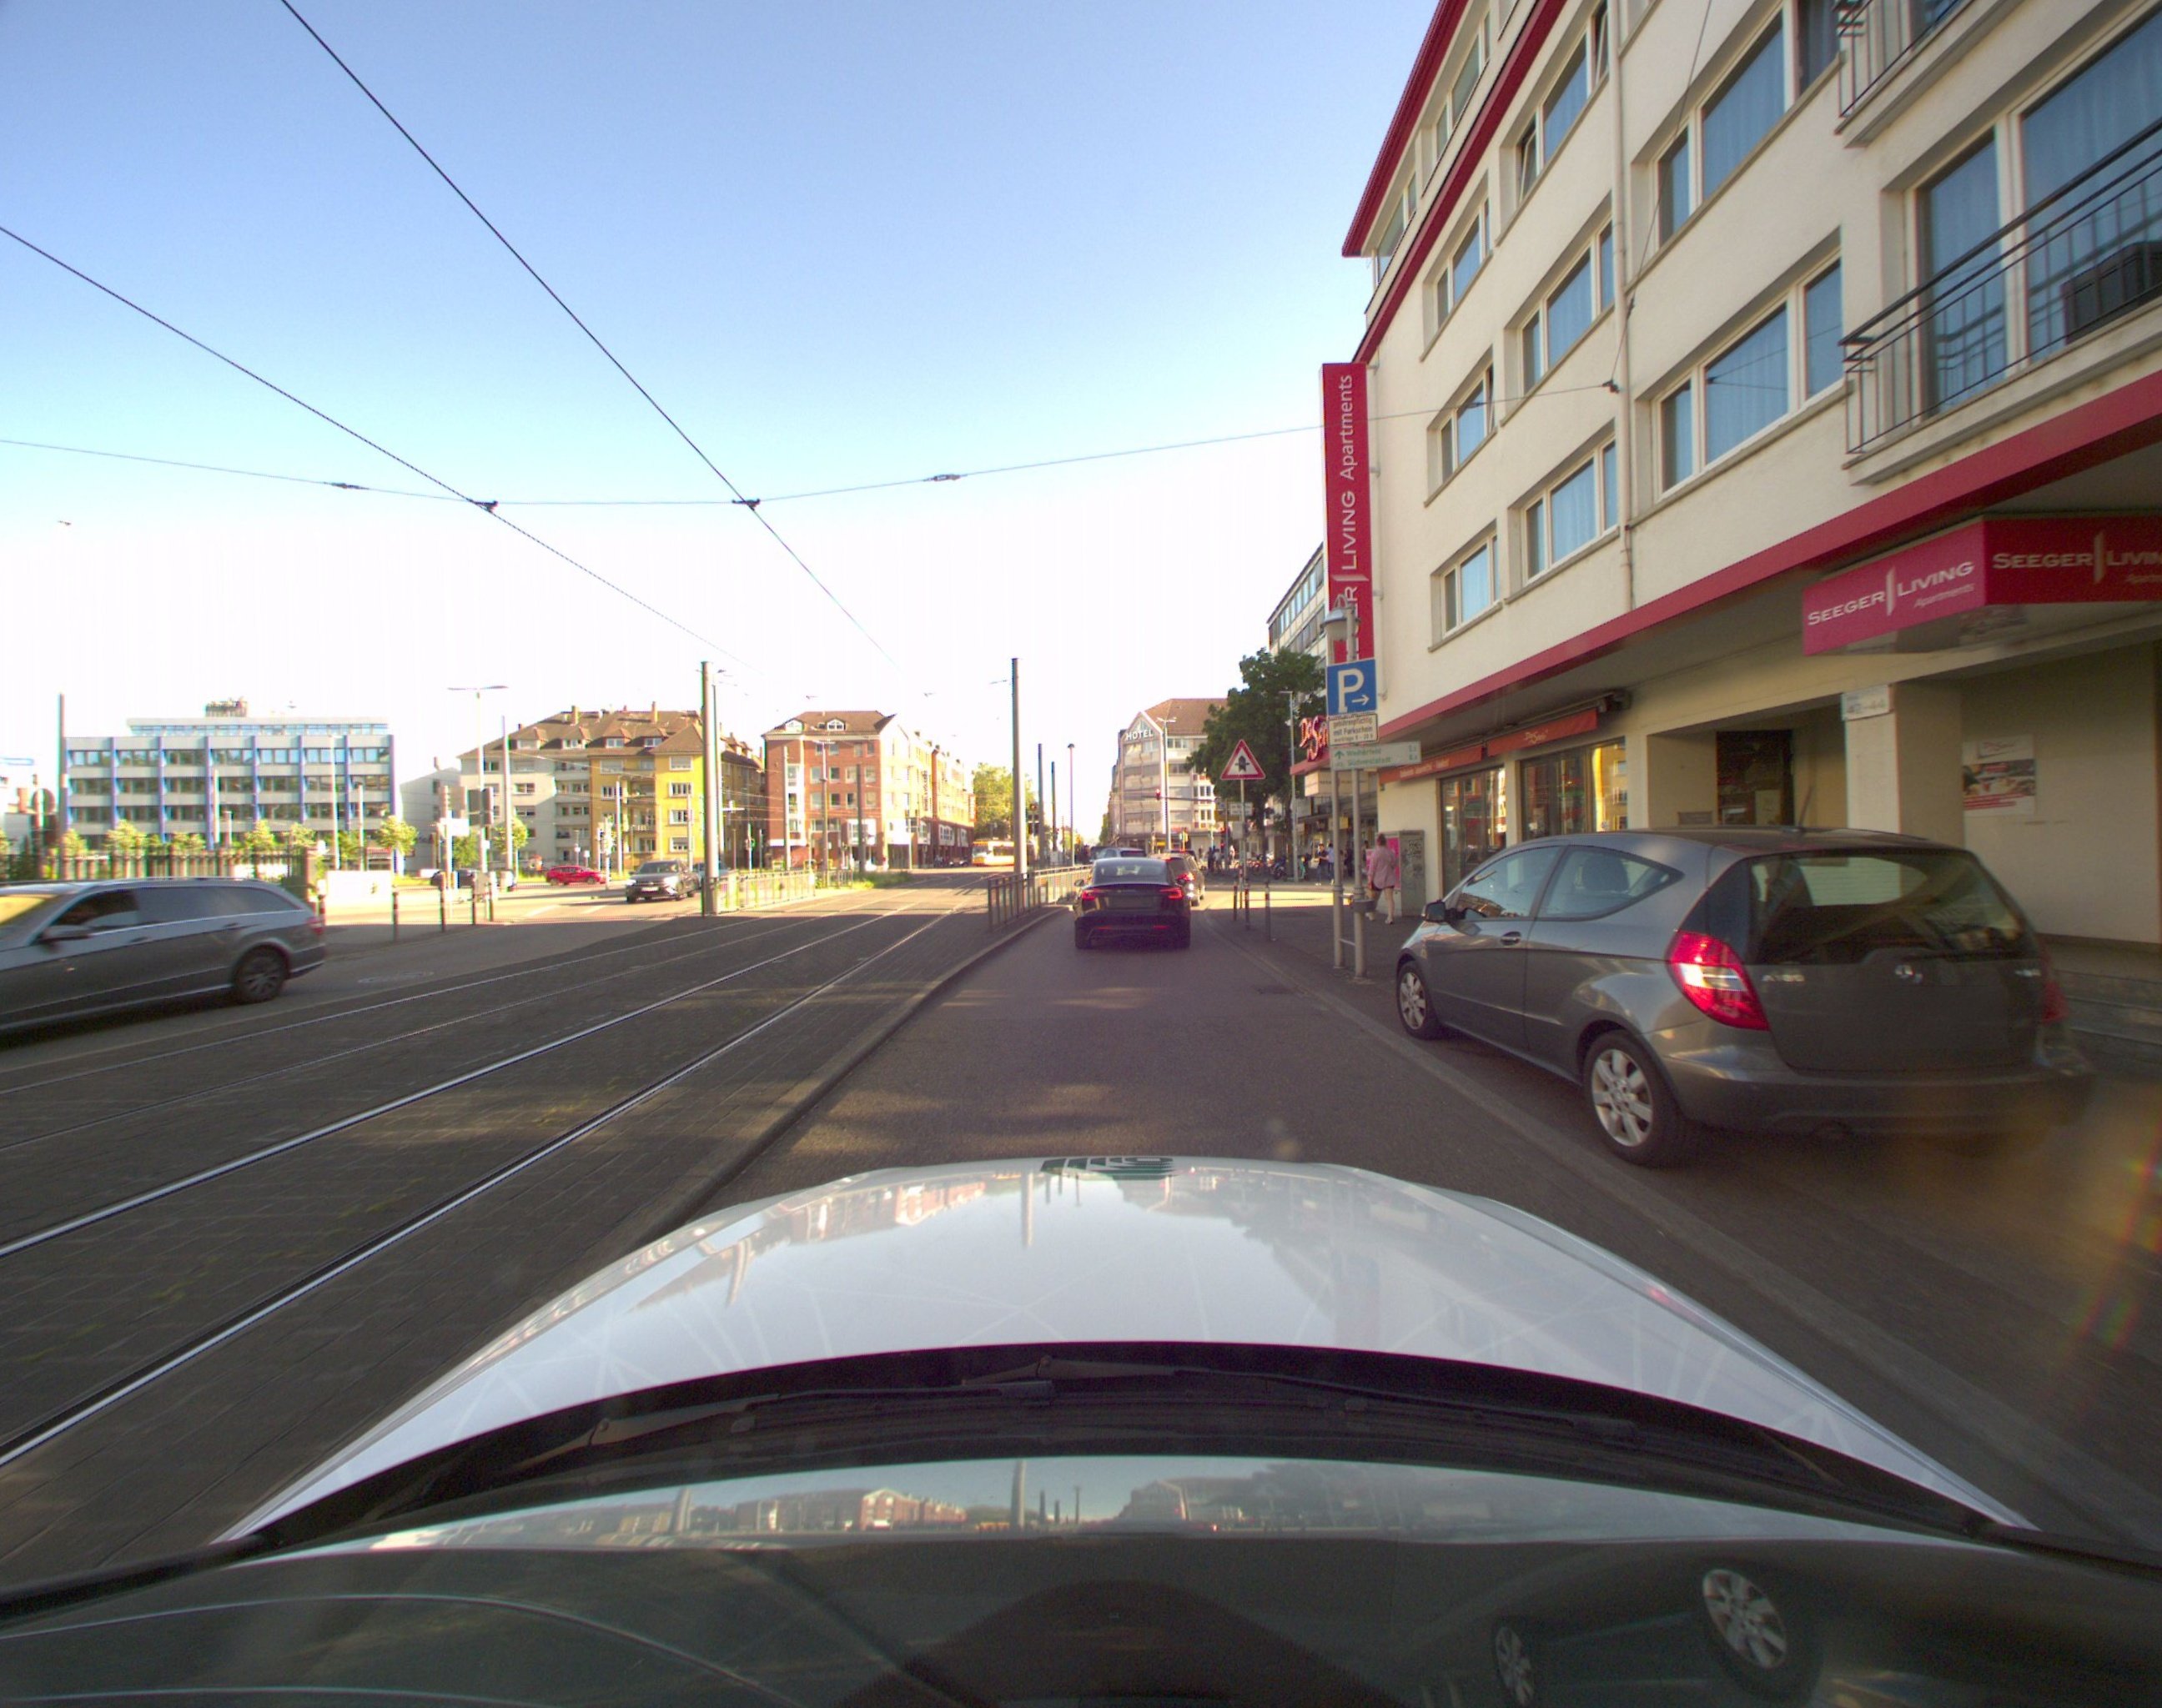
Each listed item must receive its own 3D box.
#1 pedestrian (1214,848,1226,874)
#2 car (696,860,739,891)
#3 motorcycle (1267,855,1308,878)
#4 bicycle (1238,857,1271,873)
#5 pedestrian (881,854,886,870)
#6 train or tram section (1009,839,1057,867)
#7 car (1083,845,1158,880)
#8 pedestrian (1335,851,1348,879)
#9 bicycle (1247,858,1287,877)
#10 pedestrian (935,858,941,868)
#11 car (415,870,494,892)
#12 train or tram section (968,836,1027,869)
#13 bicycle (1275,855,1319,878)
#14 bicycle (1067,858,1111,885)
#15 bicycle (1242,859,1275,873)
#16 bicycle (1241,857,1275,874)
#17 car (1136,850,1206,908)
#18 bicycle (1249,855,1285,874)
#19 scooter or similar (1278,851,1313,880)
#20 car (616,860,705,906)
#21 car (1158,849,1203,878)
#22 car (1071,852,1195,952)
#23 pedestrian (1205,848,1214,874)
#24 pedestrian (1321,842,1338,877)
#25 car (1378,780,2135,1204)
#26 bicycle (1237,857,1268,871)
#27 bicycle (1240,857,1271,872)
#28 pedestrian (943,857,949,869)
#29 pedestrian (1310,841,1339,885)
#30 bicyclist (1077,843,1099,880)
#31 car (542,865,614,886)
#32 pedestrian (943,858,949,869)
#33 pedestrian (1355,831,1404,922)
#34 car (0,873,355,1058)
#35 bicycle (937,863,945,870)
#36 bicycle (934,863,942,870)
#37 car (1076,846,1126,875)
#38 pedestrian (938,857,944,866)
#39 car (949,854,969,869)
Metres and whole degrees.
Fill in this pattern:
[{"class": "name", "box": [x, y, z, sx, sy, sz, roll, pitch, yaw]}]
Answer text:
[{"class": "pedestrian", "box": [8.568, 0.427, 50.245, 0.626, 1.613, 0.644, 0, 0, 5]}, {"class": "car", "box": [-20.620, 1.187, 46.344, 1.788, 1.568, 4.264, -2, 1, -19]}, {"class": "motorcycle", "box": [10.650, 0.642, 42.026, 1.984, 1.128, 0.596, 1, -1, 1]}, {"class": "bicycle", "box": [10.701, 0.693, 50.229, 1.917, 0.950, 0.526, -1, -1, 2]}, {"class": "pedestrian", "box": [-24.469, 1.019, 100.922, 0.565, 2.014, 0.349, 1, -1, -14]}, {"class": "train or tram section", "box": [-6.641, -0.069, 115.675, 2.618, 3.718, 15.439, 0, 0, 13]}, {"class": "car", "box": [1.742, 0.387, 37.585, 1.791, 1.519, 4.185, 1, 0, -24]}, {"class": "pedestrian", "box": [12.396, 0.529, 38.741, 0.418, 1.280, 0.531, -2, -1, 3]}, {"class": "bicycle", "box": [10.086, 0.724, 44.271, 2.043, 0.982, 0.483, -1, -1, 2]}, {"class": "pedestrian", "box": [-19.536, 1.169, 111.127, 0.708, 1.342, 0.666, -1, 0, 1]}, {"class": "car", "box": [-46.049, 1.968, 59.969, 4.143, 1.490, 1.933, 0, 0, -8]}, {"class": "train or tram section", "box": [-10.107, -0.147, 101.255, 2.655, 3.715, 14.244, 0, 0, 14]}, {"class": "bicycle", "box": [10.621, 0.618, 40.092, 2.043, 1.121, 0.483, -1, -1, 2]}, {"class": "bicycle", "box": [0.312, 0.721, 33.587, 1.726, 1.088, 0.676, 1, -1, -7]}, {"class": "bicycle", "box": [11.154, 0.757, 51.220, 1.917, 0.888, 0.526, -1, -1, 2]}, {"class": "bicycle", "box": [10.705, 0.689, 49.213, 1.917, 0.950, 0.526, -1, -1, 2]}, {"class": "car", "box": [2.596, 0.627, 22.831, 1.643, 1.418, 4.012, 0, 1, 11]}, {"class": "bicycle", "box": [10.548, 0.594, 46.270, 1.917, 1.097, 0.555, -1, -1, 2]}, {"class": "scooter or similar", "box": [9.938, 0.543, 37.727, 1.415, 1.317, 0.691, -1, -2, -24]}, {"class": "car", "box": [-15.113, 0.979, 29.525, 1.766, 1.512, 4.262, -1, 0, -12]}, {"class": "car", "box": [5.361, 0.509, 44.239, 1.821, 1.519, 3.644, 1, 0, -4]}, {"class": "car", "box": [0.780, 0.715, 13.975, 1.843, 1.484, 3.787, 0, 0, 0]}, {"class": "pedestrian", "box": [8.268, 0.453, 52.369, 0.559, 1.683, 0.751, 0, 0, 6]}, {"class": "pedestrian", "box": [11.759, 0.256, 38.561, 0.593, 1.641, 0.466, -2, -1, 3]}, {"class": "car", "box": [3.375, 0.546, 5.099, 1.739, 1.632, 3.650, -3, 0, 2]}, {"class": "bicycle", "box": [11.205, 0.658, 53.303, 1.917, 0.890, 0.526, -1, -1, 2]}, {"class": "bicycle", "box": [11.199, 0.670, 52.322, 1.917, 0.890, 0.526, -1, -1, 2]}, {"class": "pedestrian", "box": [-19.425, 1.319, 117.060, 0.710, 1.667, 0.563, 1, -1, -8]}, {"class": "pedestrian", "box": [9.800, 0.370, 32.788, 1.009, 1.742, 0.524, 1, -1, -24]}, {"class": "bicyclist", "box": [0.287, 0.295, 33.655, 0.835, 1.500, 0.559, 1, -1, -7]}, {"class": "car", "box": [-37.500, 1.608, 60.825, 4.143, 1.490, 1.933, 0, 0, -8]}, {"class": "pedestrian", "box": [-19.124, 1.331, 115.335, 0.710, 1.555, 0.563, 1, -1, -8]}, {"class": "pedestrian", "box": [5.711, 0.423, 15.576, 0.810, 1.683, 0.718, 0, -1, 24]}, {"class": "car", "box": [-10.208, 1.016, 8.074, 1.877, 1.495, 4.920, -2, 0, -5]}, {"class": "bicycle", "box": [-19.499, 1.718, 113.243, 0.699, 0.855, 2.054, -2, 0, 1]}, {"class": "bicycle", "box": [-19.529, 1.697, 111.028, 0.699, 0.855, 2.054, -2, 0, 1]}, {"class": "car", "box": [1.050, 0.344, 44.092, 1.825, 1.519, 4.201, 1, 0, -11]}, {"class": "pedestrian", "box": [-19.510, 1.066, 113.304, 0.694, 1.308, 0.564, -2, 0, 0]}, {"class": "car", "box": [-17.232, 1.075, 115.389, 1.986, 2.013, 4.002, -1, 0, 2]}]
